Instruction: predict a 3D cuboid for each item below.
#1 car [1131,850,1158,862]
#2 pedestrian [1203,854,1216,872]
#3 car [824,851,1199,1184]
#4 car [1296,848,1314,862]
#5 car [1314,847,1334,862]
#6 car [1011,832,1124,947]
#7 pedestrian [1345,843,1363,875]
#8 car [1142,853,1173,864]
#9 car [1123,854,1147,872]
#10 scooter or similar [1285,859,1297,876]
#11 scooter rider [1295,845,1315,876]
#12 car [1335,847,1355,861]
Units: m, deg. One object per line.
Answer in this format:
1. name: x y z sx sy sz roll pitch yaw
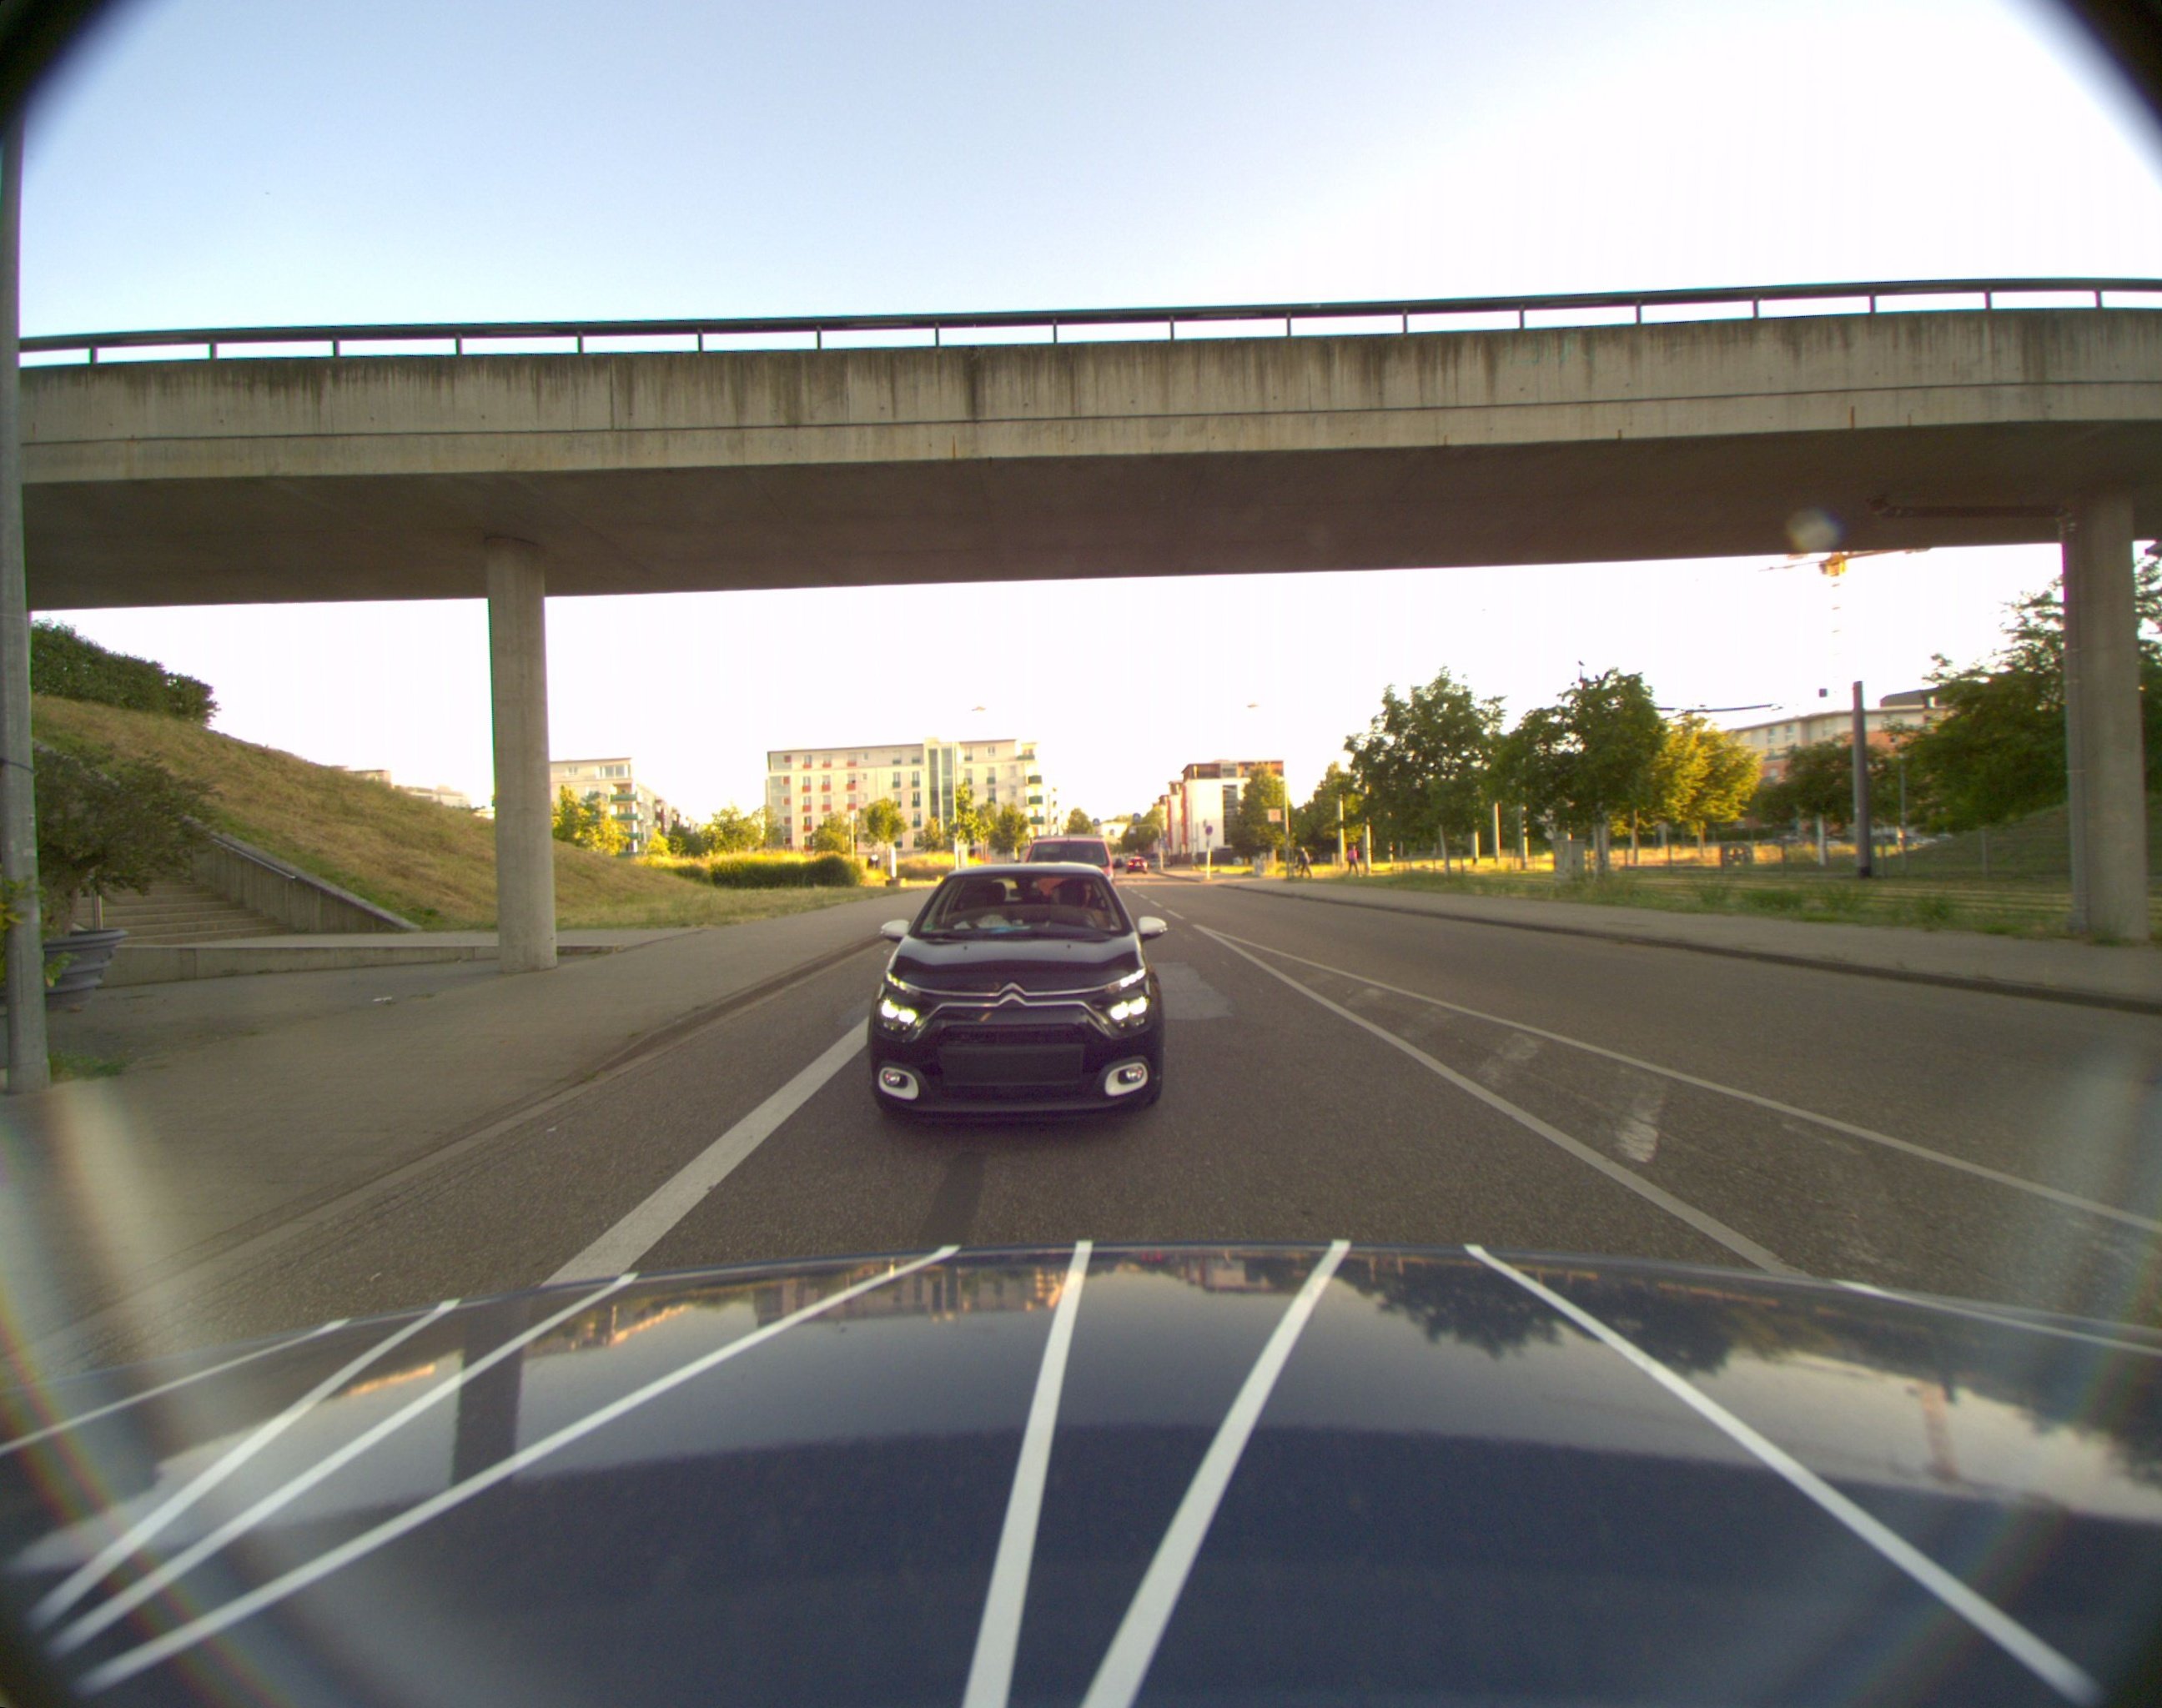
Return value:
1. car: 12.028 0.352 144.167 4.745 2.002 1.999 -2 1 -2
2. pedestrian: 15.063 1.065 88.919 1.088 2.002 1.141 -2 1 29
3. car: -0.383 0.798 5.722 1.760 1.543 4.071 -2 0 -2
4. car: 28.659 0.153 97.206 1.869 1.710 3.848 -2 0 12
5. car: 30.986 0.061 96.849 1.869 1.710 3.848 -2 0 9
6. car: -0.241 0.645 16.074 1.931 1.979 4.822 -3 0 0
7. pedestrian: 14.008 0.267 38.993 0.779 1.602 0.417 -2 0 12
8. car: 11.454 0.679 113.989 4.387 1.550 1.839 -2 1 2
9. car: 4.968 0.850 70.331 1.998 1.554 4.000 -2 0 1
10. scooter or similar: 11.071 0.705 40.041 0.552 0.890 0.723 -1 1 10
11. scooter rider: 11.739 0.334 39.890 0.897 1.568 0.712 -2 0 12
12. car: 33.497 -0.032 96.575 1.869 1.710 3.848 -2 0 12
